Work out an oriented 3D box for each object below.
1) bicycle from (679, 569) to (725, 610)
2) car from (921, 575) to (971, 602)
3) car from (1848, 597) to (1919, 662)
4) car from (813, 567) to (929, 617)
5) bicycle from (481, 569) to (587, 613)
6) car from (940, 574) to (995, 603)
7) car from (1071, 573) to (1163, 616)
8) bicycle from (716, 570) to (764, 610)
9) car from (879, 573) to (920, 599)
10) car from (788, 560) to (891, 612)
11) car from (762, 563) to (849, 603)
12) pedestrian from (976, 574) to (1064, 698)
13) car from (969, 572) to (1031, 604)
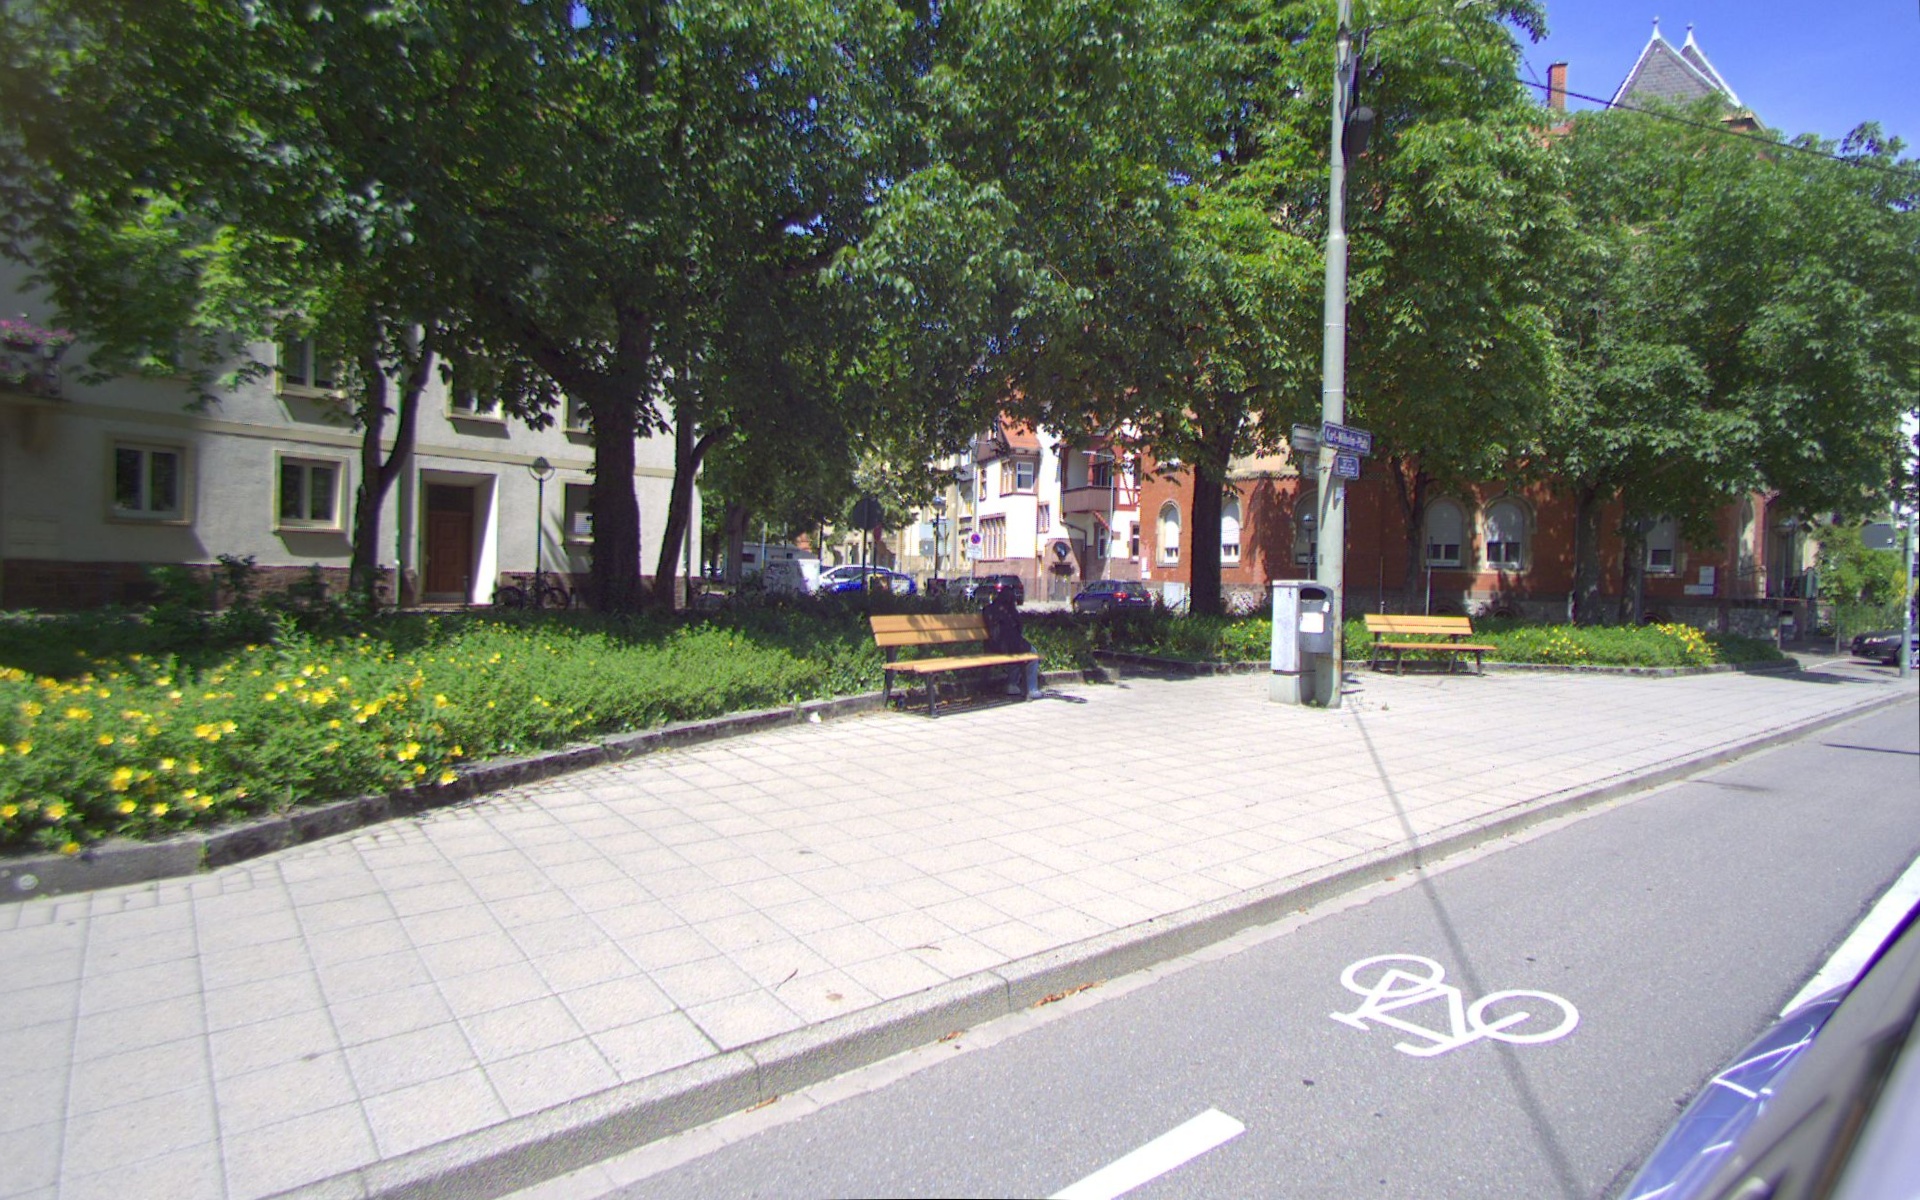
[{"bbox_3d":[-6.769,-0.265,26.489,0.736,1.024,2.273,0,0,-26],"label":"bicycle"},{"bbox_3d":[-0.912,-0.698,63.266,1.897,1.638,4.318,0,0,-19],"label":"car"},{"bbox_3d":[24.294,0.695,23.706,4.998,1.501,1.915,0,0,33],"label":"car"},{"bbox_3d":[-3.538,-0.328,40.029,4.219,1.903,1.942,0,0,-18],"label":"car"},{"bbox_3d":[-10.246,-0.228,24.389,2.230,1.024,0.751,-1,0,-41],"label":"bicycle"},{"bbox_3d":[0.386,-0.661,58.695,1.897,1.638,4.318,0,0,-19],"label":"car"},{"bbox_3d":[6.281,-0.237,41.039,1.897,1.638,4.318,0,0,-19],"label":"car"},{"bbox_3d":[-5.862,-0.274,26.917,0.736,1.024,2.273,0,0,-26],"label":"bicycle"},{"bbox_3d":[-4.496,-1.014,74.475,1.897,1.897,4.318,0,0,-19],"label":"car"},{"bbox_3d":[-5.365,-0.635,44.842,4.219,2.219,1.942,0,0,-18],"label":"car"},{"bbox_3d":[-8.078,-0.890,52.952,4.219,2.029,1.942,0,0,-18],"label":"car"},{"bbox_3d":[0.605,0.333,10.088,0.562,1.156,0.718,3,2,33],"label":"pedestrian"},{"bbox_3d":[2.073,-0.625,54.088,1.897,1.638,4.318,0,0,-19],"label":"car"}]
